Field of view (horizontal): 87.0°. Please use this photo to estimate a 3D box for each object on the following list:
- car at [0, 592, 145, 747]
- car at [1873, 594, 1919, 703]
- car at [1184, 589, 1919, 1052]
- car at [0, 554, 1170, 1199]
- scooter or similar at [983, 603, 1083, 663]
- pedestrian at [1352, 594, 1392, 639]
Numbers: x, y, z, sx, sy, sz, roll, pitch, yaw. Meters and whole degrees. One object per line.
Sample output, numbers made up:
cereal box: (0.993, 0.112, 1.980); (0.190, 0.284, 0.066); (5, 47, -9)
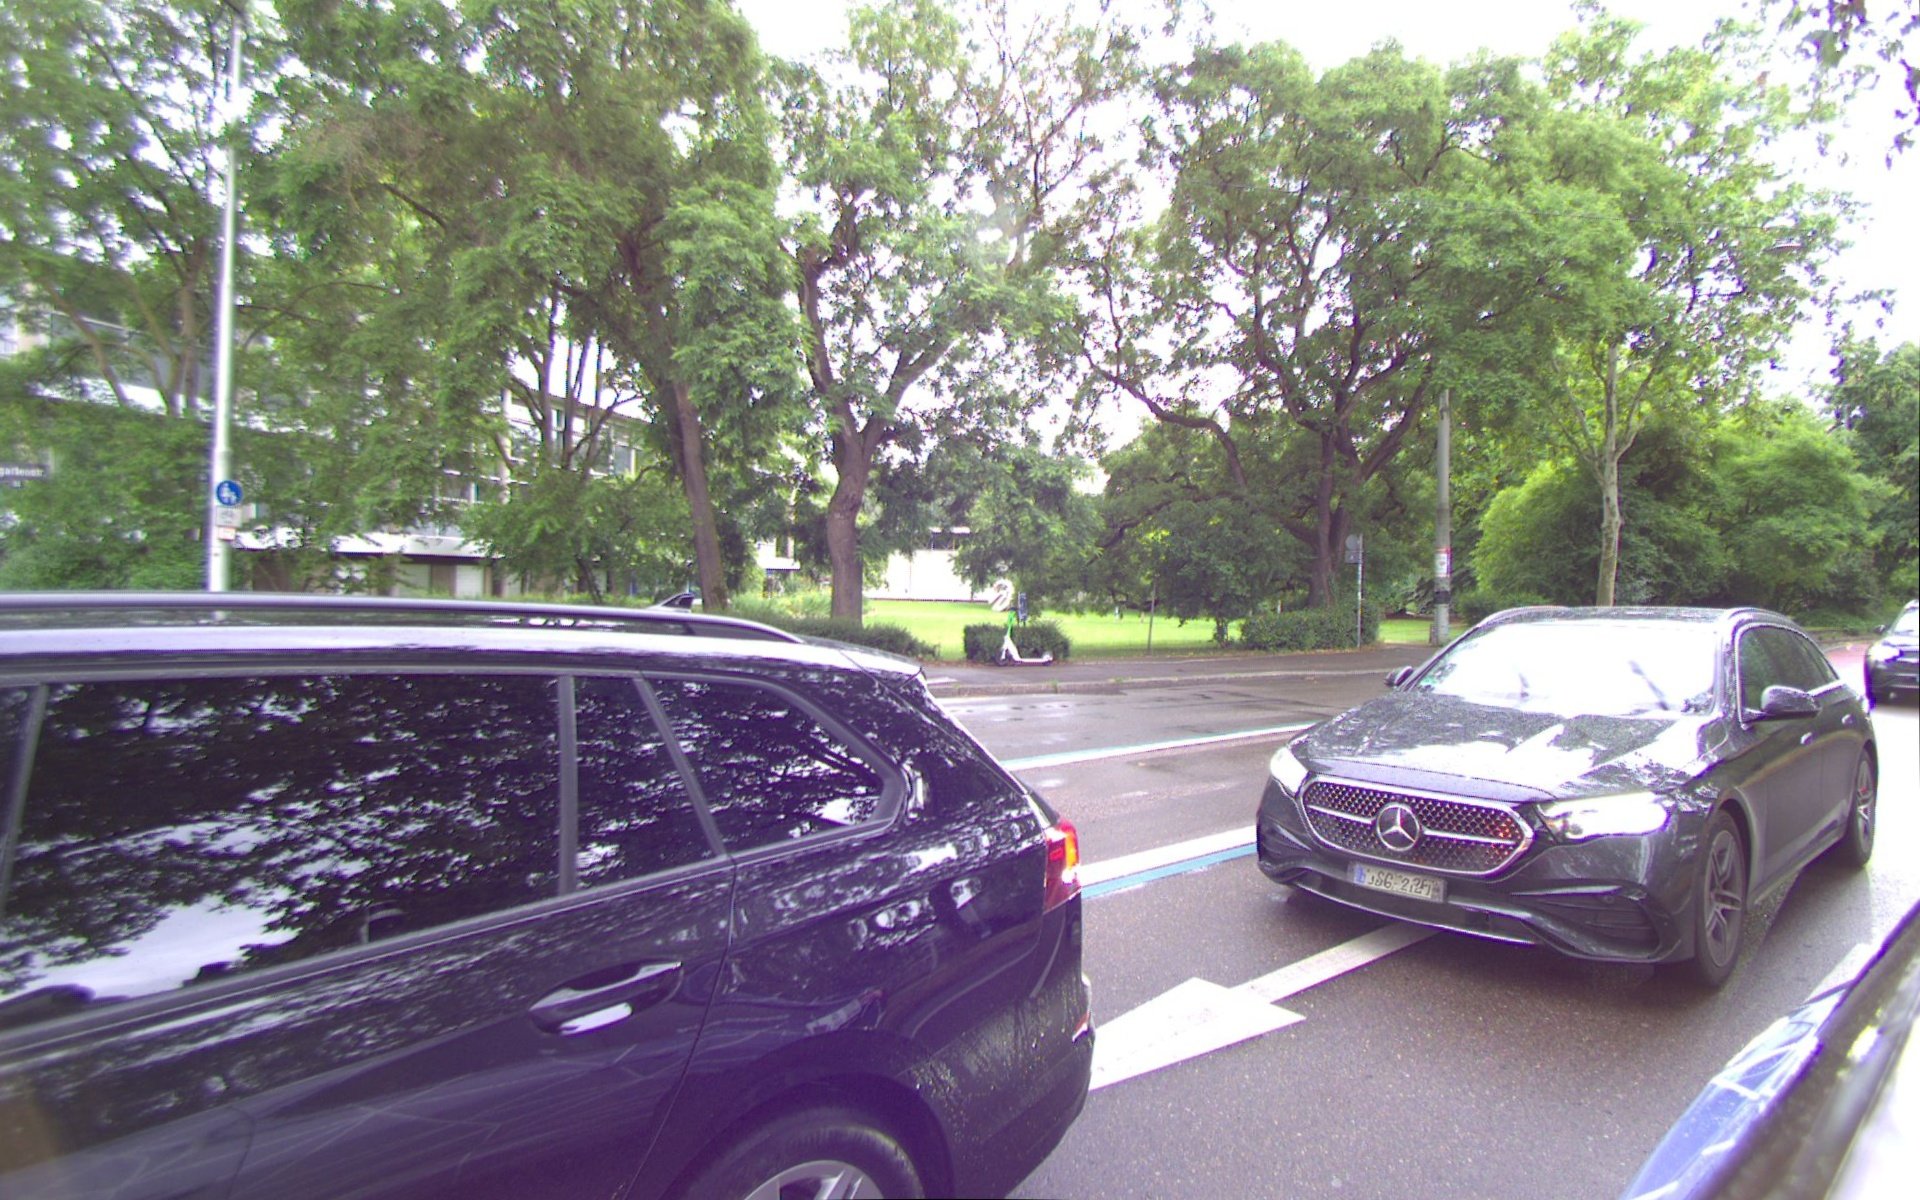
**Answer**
car: (-11.037, 0.648, 9.953); (4.311, 1.468, 1.872); (0, 0, -19)
car: (16.351, 0.724, 16.180); (4.493, 1.628, 1.833); (0, 0, -38)
car: (3.505, 0.703, 5.469); (4.841, 1.464, 1.883); (0, -1, -39)
car: (-1.762, 0.681, 1.402); (4.433, 1.484, 1.673); (1, 0, -41)
scooter or similar: (1.439, 0.647, 19.970); (1.851, 1.114, 0.559); (2, 2, -19)
pedestrian: (15.390, 0.613, 37.857); (1.038, 1.626, 1.071); (-1, 0, 1)
